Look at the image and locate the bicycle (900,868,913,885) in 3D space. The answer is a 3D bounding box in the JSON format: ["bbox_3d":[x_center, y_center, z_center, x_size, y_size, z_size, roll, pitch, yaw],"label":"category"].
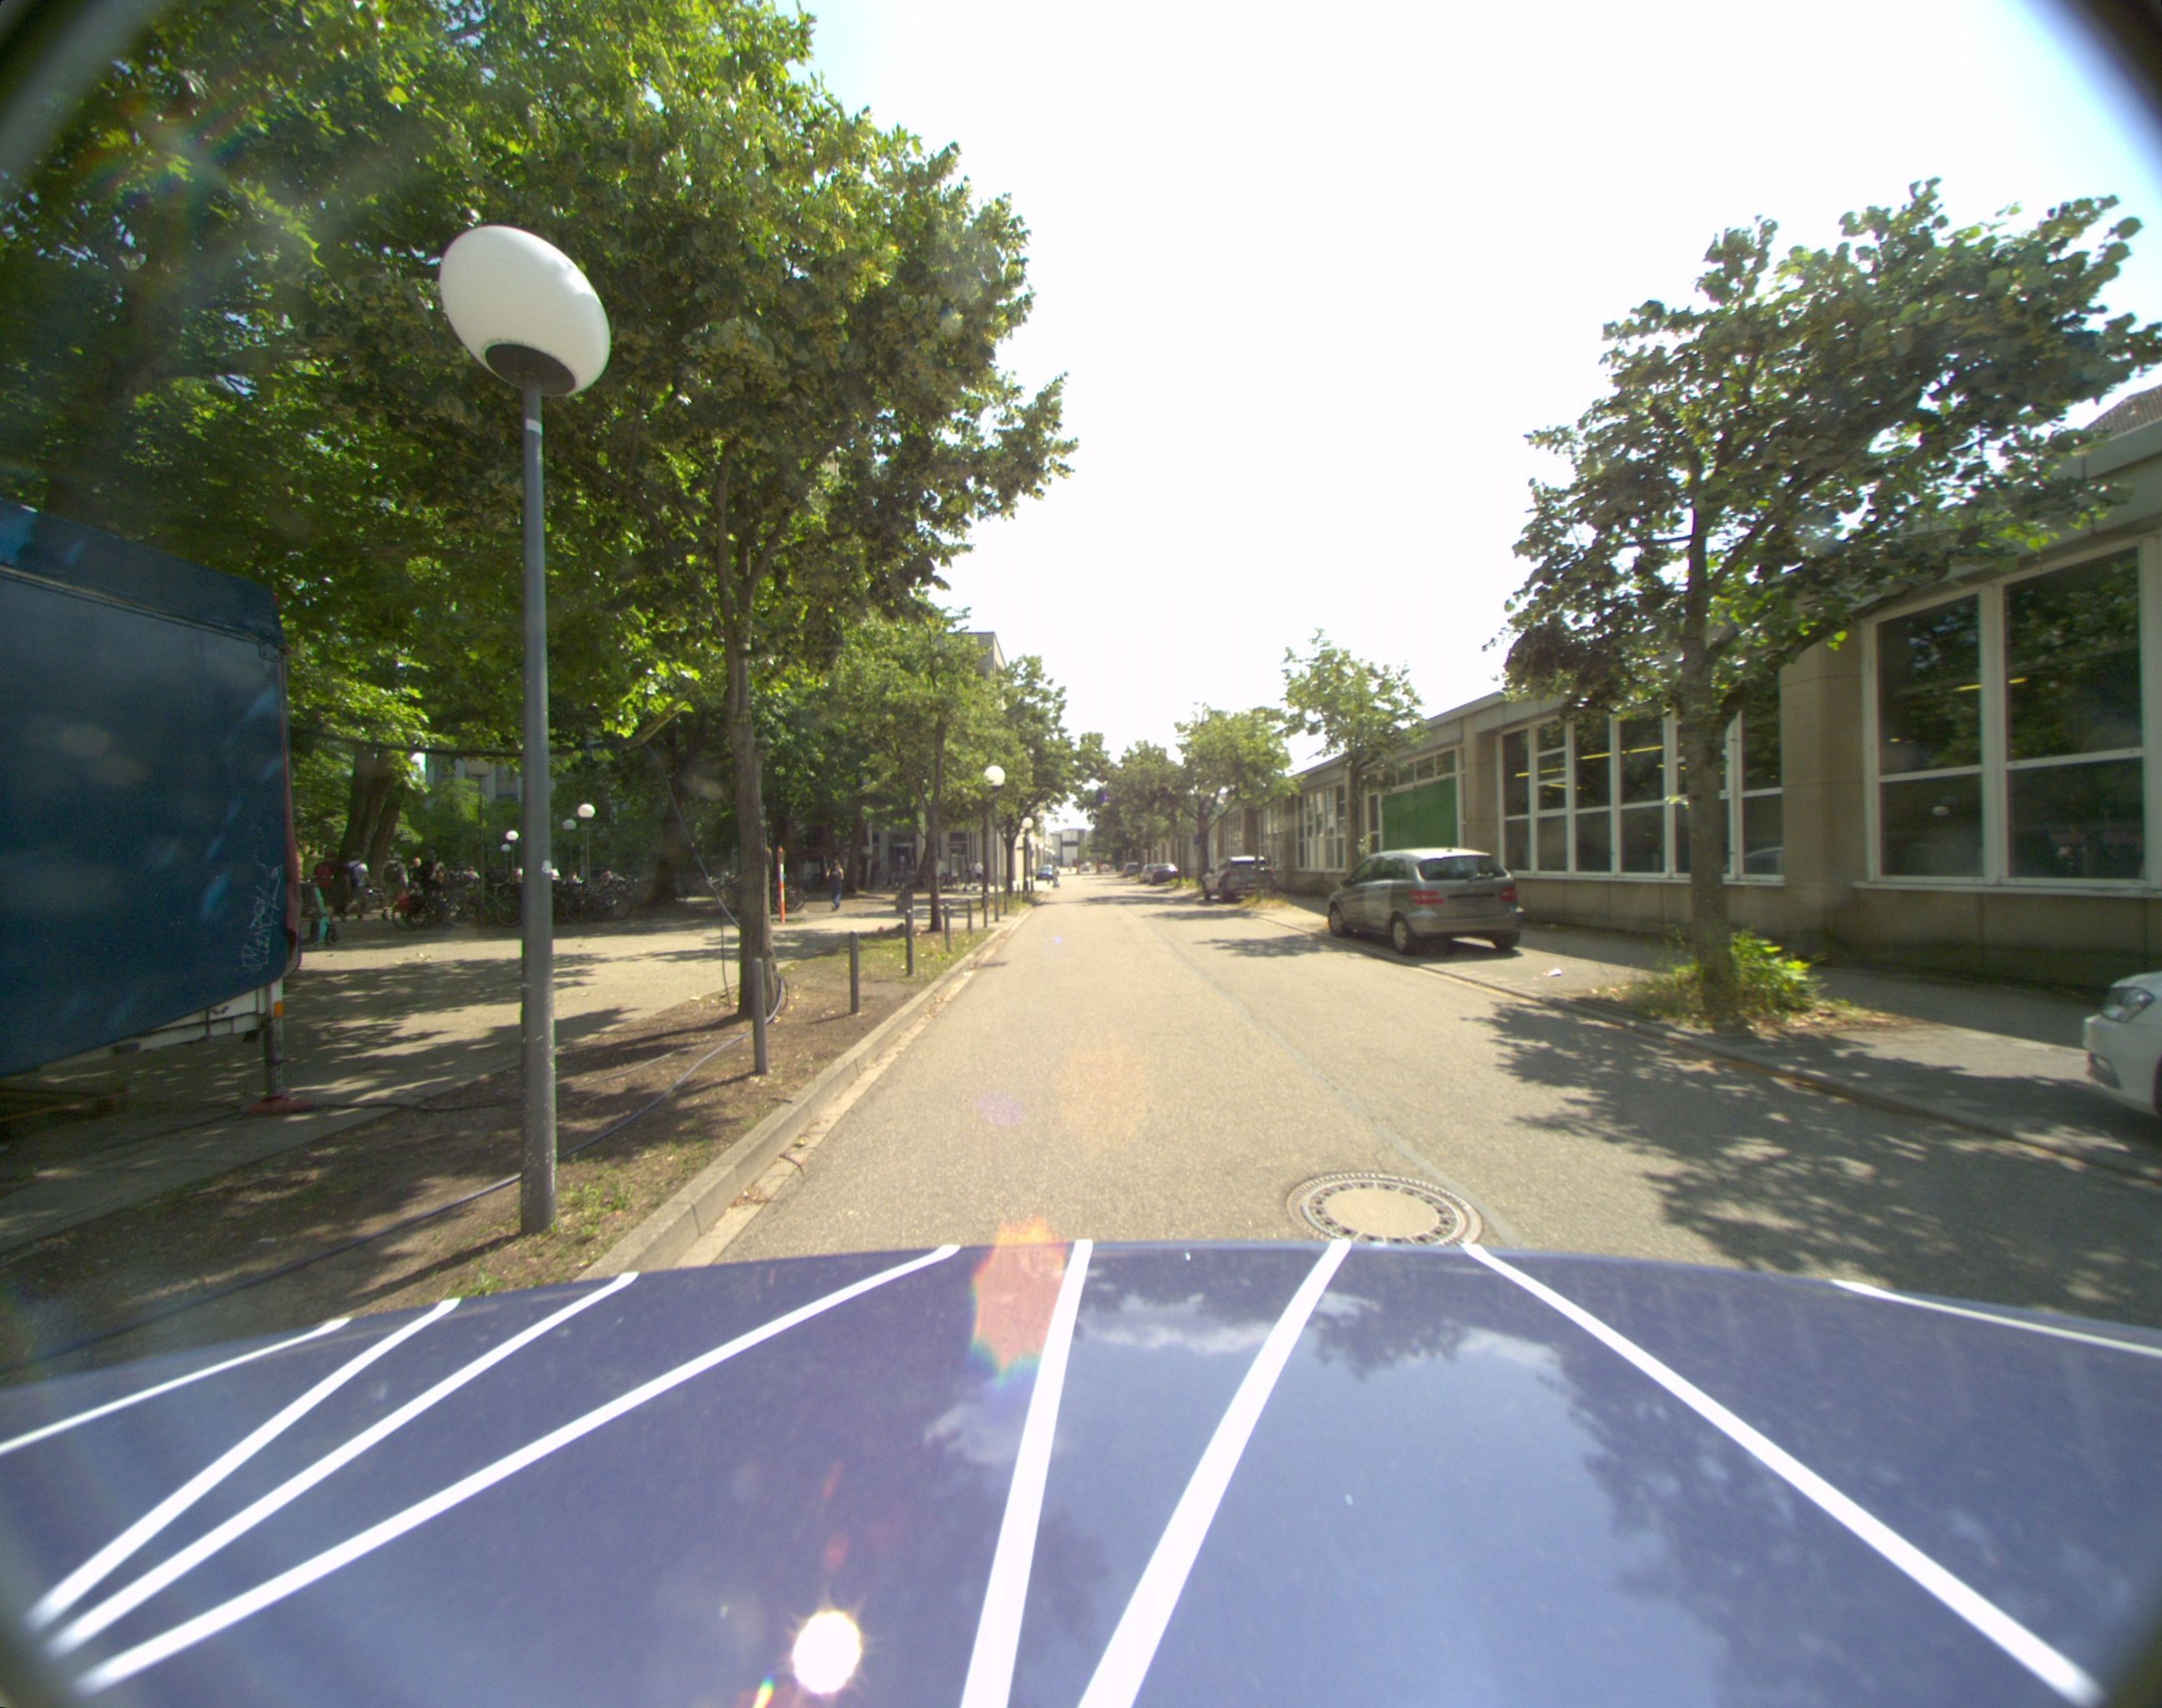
[{"bbox_3d":[-11.263,1.450,49.087,0.460,1.079,1.474,1,-2,1],"label":"bicycle"}]

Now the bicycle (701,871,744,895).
[{"bbox_3d":[-17.681,1.419,37.492,1.849,1.163,0.352,0,0,-37],"label":"bicycle"}]

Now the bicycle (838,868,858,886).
[{"bbox_3d":[-14.204,1.405,46.363,0.463,1.071,1.829,0,-2,8],"label":"bicycle"}]

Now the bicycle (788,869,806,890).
[{"bbox_3d":[-15.665,1.421,41.942,0.476,1.103,1.666,-2,1,-37],"label":"bicycle"}]

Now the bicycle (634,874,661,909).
[{"bbox_3d":[-14.136,1.195,24.796,0.479,1.076,1.900,0,0,-21],"label":"bicycle"}]

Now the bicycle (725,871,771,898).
[{"bbox_3d":[-14.816,1.342,33.832,1.848,1.163,0.344,0,0,-34],"label":"bicycle"}]

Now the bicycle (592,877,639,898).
[{"bbox_3d":[-22.785,1.636,37.202,1.908,0.973,0.477,0,0,-43],"label":"bicycle"}]

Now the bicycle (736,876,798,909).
[{"bbox_3d":[-10.609,1.285,25.678,1.916,1.053,0.325,-1,0,-23],"label":"bicycle"}]

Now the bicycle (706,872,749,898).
[{"bbox_3d":[-17.007,1.475,36.600,1.849,1.163,0.352,0,0,-37],"label":"bicycle"}]

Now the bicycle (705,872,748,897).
[{"bbox_3d":[-17.196,1.476,36.921,1.849,1.163,0.352,0,0,-37],"label":"bicycle"}]

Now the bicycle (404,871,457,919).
[{"bbox_3d":[-17.961,1.106,21.012,0.532,1.245,1.734,1,-1,-20],"label":"bicycle"}]

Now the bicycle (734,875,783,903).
[{"bbox_3d":[-12.985,1.388,30.606,1.796,1.063,0.425,0,0,-30],"label":"bicycle"}]

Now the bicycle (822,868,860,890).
[{"bbox_3d":[-13.475,1.392,42.728,1.928,1.103,0.631,-1,1,-37],"label":"bicycle"}]

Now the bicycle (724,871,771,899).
[{"bbox_3d":[-14.692,1.354,33.468,1.848,1.163,0.401,0,0,-34],"label":"bicycle"}]

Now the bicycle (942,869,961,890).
[{"bbox_3d":[-7.262,1.426,42.629,0.629,1.078,1.684,-3,3,-23],"label":"bicycle"}]

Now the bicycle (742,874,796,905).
[{"bbox_3d":[-11.439,1.288,27.889,1.742,1.046,0.493,0,-1,-37],"label":"bicycle"}]

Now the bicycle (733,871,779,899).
[{"bbox_3d":[-14.135,1.326,33.058,1.796,1.163,0.401,0,0,-34],"label":"bicycle"}]

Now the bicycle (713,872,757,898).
[{"bbox_3d":[-16.275,1.438,35.763,1.849,1.163,0.344,0,0,-37],"label":"bicycle"}]

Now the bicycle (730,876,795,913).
[{"bbox_3d":[-9.739,1.223,23.306,1.773,1.076,0.438,-1,0,-12],"label":"bicycle"}]

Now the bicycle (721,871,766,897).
[{"bbox_3d":[-15.476,1.369,34.877,0.344,1.163,1.849,-1,-1,43],"label":"bicycle"}]

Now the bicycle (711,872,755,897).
[{"bbox_3d":[-16.476,1.438,36.035,1.849,1.163,0.344,0,0,-37],"label":"bicycle"}]

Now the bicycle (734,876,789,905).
[{"bbox_3d":[-11.847,1.330,28.189,1.800,1.022,0.439,0,0,-32],"label":"bicycle"}]

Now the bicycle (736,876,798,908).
[{"bbox_3d":[-10.719,1.288,25.967,1.916,1.053,0.325,-1,0,-23],"label":"bicycle"}]

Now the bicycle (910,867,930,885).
[{"bbox_3d":[-10.352,1.428,48.824,0.491,1.134,1.529,0,-2,19],"label":"bicycle"}]

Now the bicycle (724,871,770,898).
[{"bbox_3d":[-14.998,1.367,34.135,1.848,1.163,0.344,0,0,-34],"label":"bicycle"}]

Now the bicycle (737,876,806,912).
[{"bbox_3d":[-9.635,1.238,23.712,1.950,1.076,0.404,-1,0,-12],"label":"bicycle"}]

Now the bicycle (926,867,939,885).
[{"bbox_3d":[-9.611,1.444,49.138,0.561,1.134,1.490,1,-2,-3],"label":"bicycle"}]

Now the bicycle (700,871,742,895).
[{"bbox_3d":[-17.896,1.419,37.777,1.849,1.163,0.352,0,0,-37],"label":"bicycle"}]

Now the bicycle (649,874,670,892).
[{"bbox_3d":[-27.119,1.872,48.939,0.478,1.077,1.688,-3,-1,-5],"label":"bicycle"}]

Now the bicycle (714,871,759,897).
[{"bbox_3d":[-16.071,1.373,35.484,1.849,1.163,0.344,0,0,-37],"label":"bicycle"}]

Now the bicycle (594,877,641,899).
[{"bbox_3d":[-22.517,1.634,36.921,1.908,0.973,0.477,0,0,-43],"label":"bicycle"}]

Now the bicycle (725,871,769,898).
[{"bbox_3d":[-15.210,1.371,34.615,0.344,1.163,1.849,-1,-1,43],"label":"bicycle"}]

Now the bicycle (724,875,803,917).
[{"bbox_3d":[-9.229,1.206,22.166,2.021,1.160,0.651,-1,0,-12],"label":"bicycle"}]

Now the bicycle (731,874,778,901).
[{"bbox_3d":[-13.834,1.406,32.219,1.796,1.063,0.425,0,0,-36],"label":"bicycle"}]

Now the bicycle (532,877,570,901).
[{"bbox_3d":[-26.578,1.755,38.096,0.352,1.077,1.474,-4,-1,34],"label":"bicycle"}]

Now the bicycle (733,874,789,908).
[{"bbox_3d":[-11.392,1.292,27.063,1.742,1.148,0.493,0,0,-37],"label":"bicycle"}]

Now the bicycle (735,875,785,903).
[{"bbox_3d":[-12.766,1.386,30.225,1.796,1.063,0.425,0,0,-30],"label":"bicycle"}]

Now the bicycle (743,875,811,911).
[{"bbox_3d":[-9.643,1.238,24.151,1.950,1.076,0.404,-1,0,-12],"label":"bicycle"}]

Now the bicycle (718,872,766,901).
[{"bbox_3d":[-14.440,1.384,32.362,1.796,1.163,0.401,0,0,-34],"label":"bicycle"}]

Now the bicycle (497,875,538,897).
[{"bbox_3d":[-31.011,1.762,41.841,0.477,1.077,1.691,-4,-1,32],"label":"bicycle"}]

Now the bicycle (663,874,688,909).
[{"bbox_3d":[-13.434,1.223,25.207,0.479,1.076,1.900,0,0,-21],"label":"bicycle"}]

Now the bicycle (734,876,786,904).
[{"bbox_3d":[-12.246,1.360,29.008,1.796,1.022,0.381,0,0,-32],"label":"bicycle"}]

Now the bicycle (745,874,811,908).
[{"bbox_3d":[-9.881,1.202,24.822,1.950,1.076,0.404,-1,0,-12],"label":"bicycle"}]
